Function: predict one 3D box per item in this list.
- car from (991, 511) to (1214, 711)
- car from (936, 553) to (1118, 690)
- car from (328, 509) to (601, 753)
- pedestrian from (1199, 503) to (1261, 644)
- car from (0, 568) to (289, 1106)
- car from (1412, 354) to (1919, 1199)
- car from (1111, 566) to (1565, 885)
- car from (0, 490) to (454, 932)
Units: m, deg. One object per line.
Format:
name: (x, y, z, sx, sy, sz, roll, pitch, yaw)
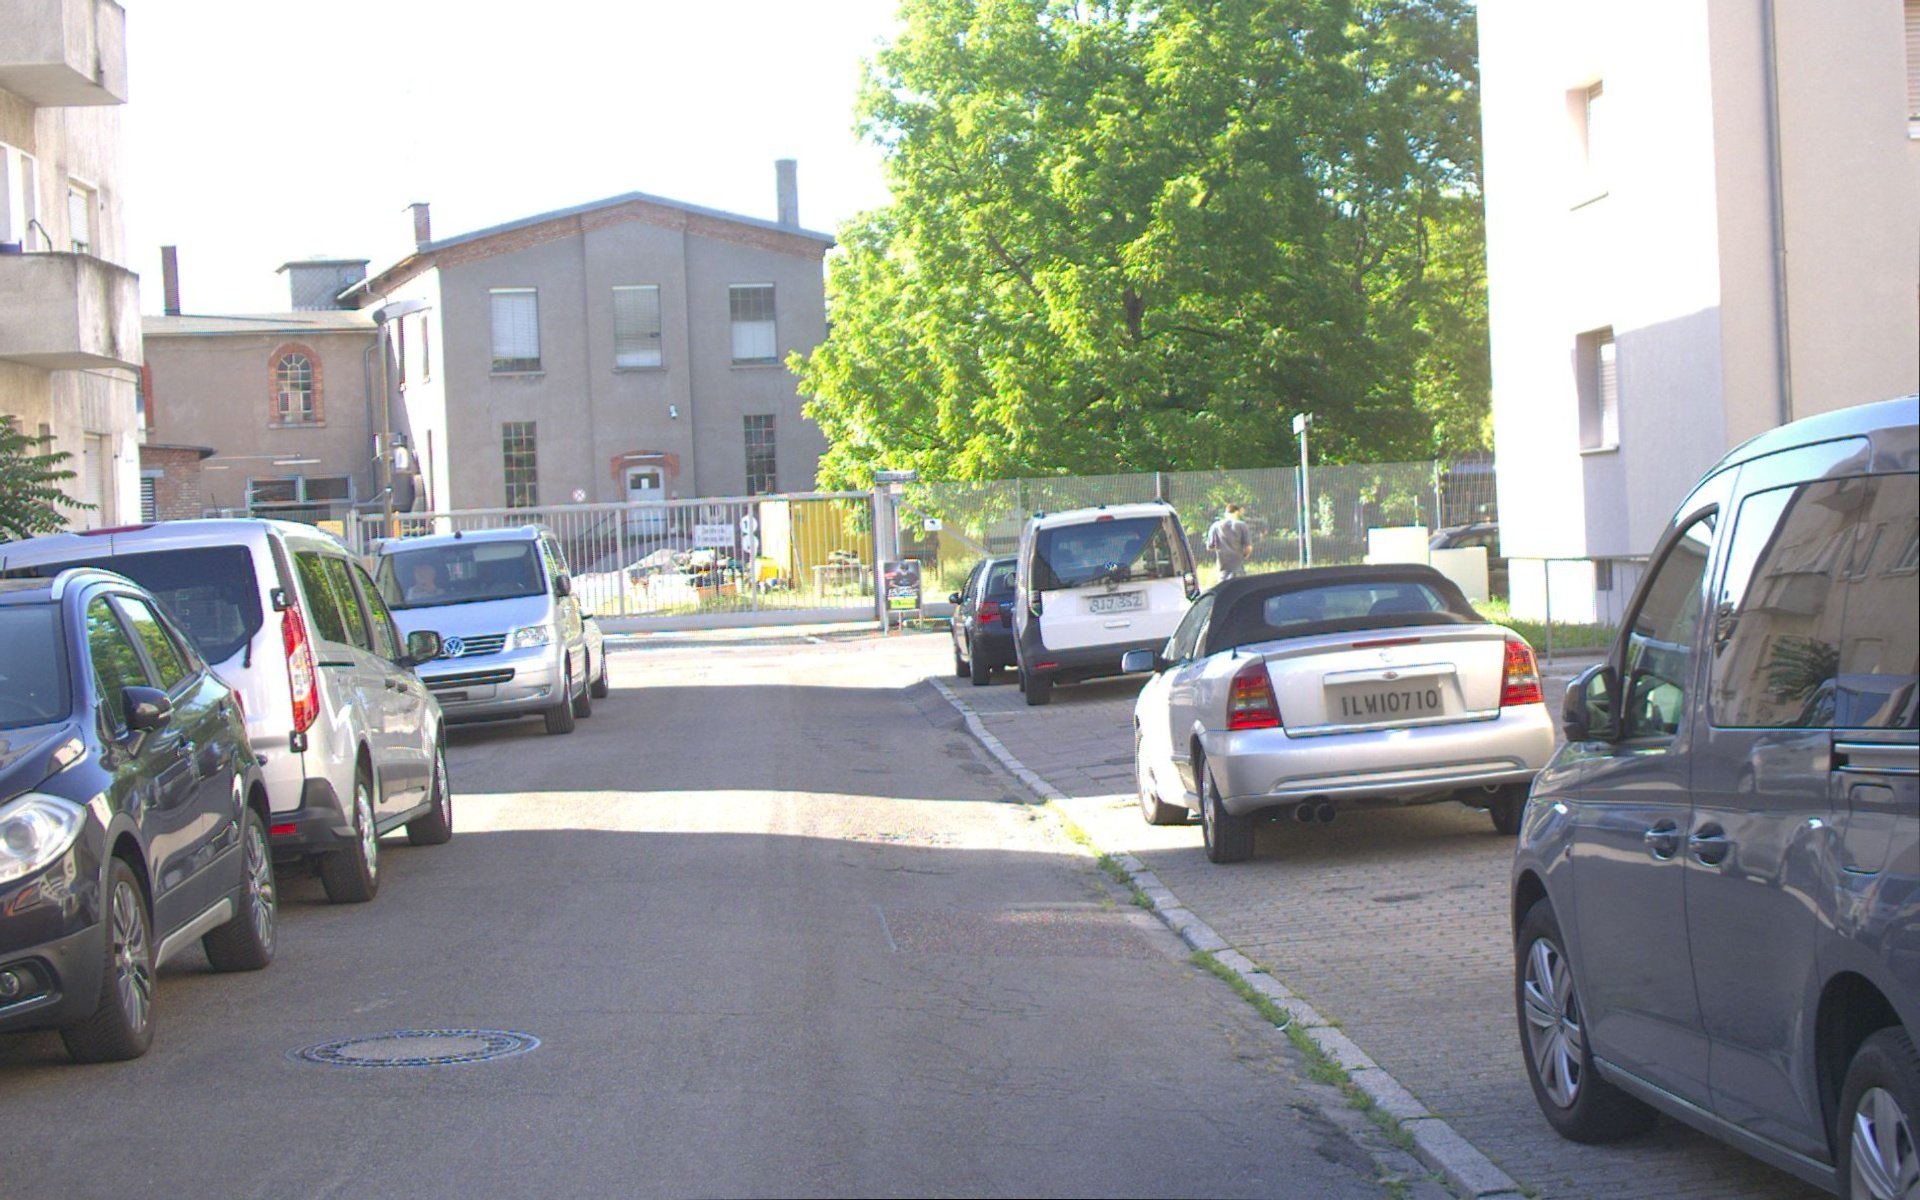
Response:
car: (1.352, 0.091, 34.101, 1.765, 1.733, 4.094, -4, 1, -2)
car: (0.721, 0.220, 39.549, 1.765, 1.357, 4.094, -4, 1, -2)
car: (-4.613, 0.259, 32.646, 1.993, 2.007, 4.454, -4, 1, -2)
pedestrian: (3.563, -0.353, 45.388, 0.654, 1.809, 0.614, -4, 0, 8)
car: (-3.554, 0.721, 11.711, 1.832, 1.510, 4.000, -4, 1, -3)
car: (2.383, 0.491, 7.474, 1.896, 1.849, 4.344, -3, 0, -3)
car: (1.855, 0.570, 18.081, 1.717, 1.359, 4.055, -4, 1, -2)
car: (-3.734, 0.493, 17.082, 1.896, 1.849, 4.195, -3, 0, -2)
